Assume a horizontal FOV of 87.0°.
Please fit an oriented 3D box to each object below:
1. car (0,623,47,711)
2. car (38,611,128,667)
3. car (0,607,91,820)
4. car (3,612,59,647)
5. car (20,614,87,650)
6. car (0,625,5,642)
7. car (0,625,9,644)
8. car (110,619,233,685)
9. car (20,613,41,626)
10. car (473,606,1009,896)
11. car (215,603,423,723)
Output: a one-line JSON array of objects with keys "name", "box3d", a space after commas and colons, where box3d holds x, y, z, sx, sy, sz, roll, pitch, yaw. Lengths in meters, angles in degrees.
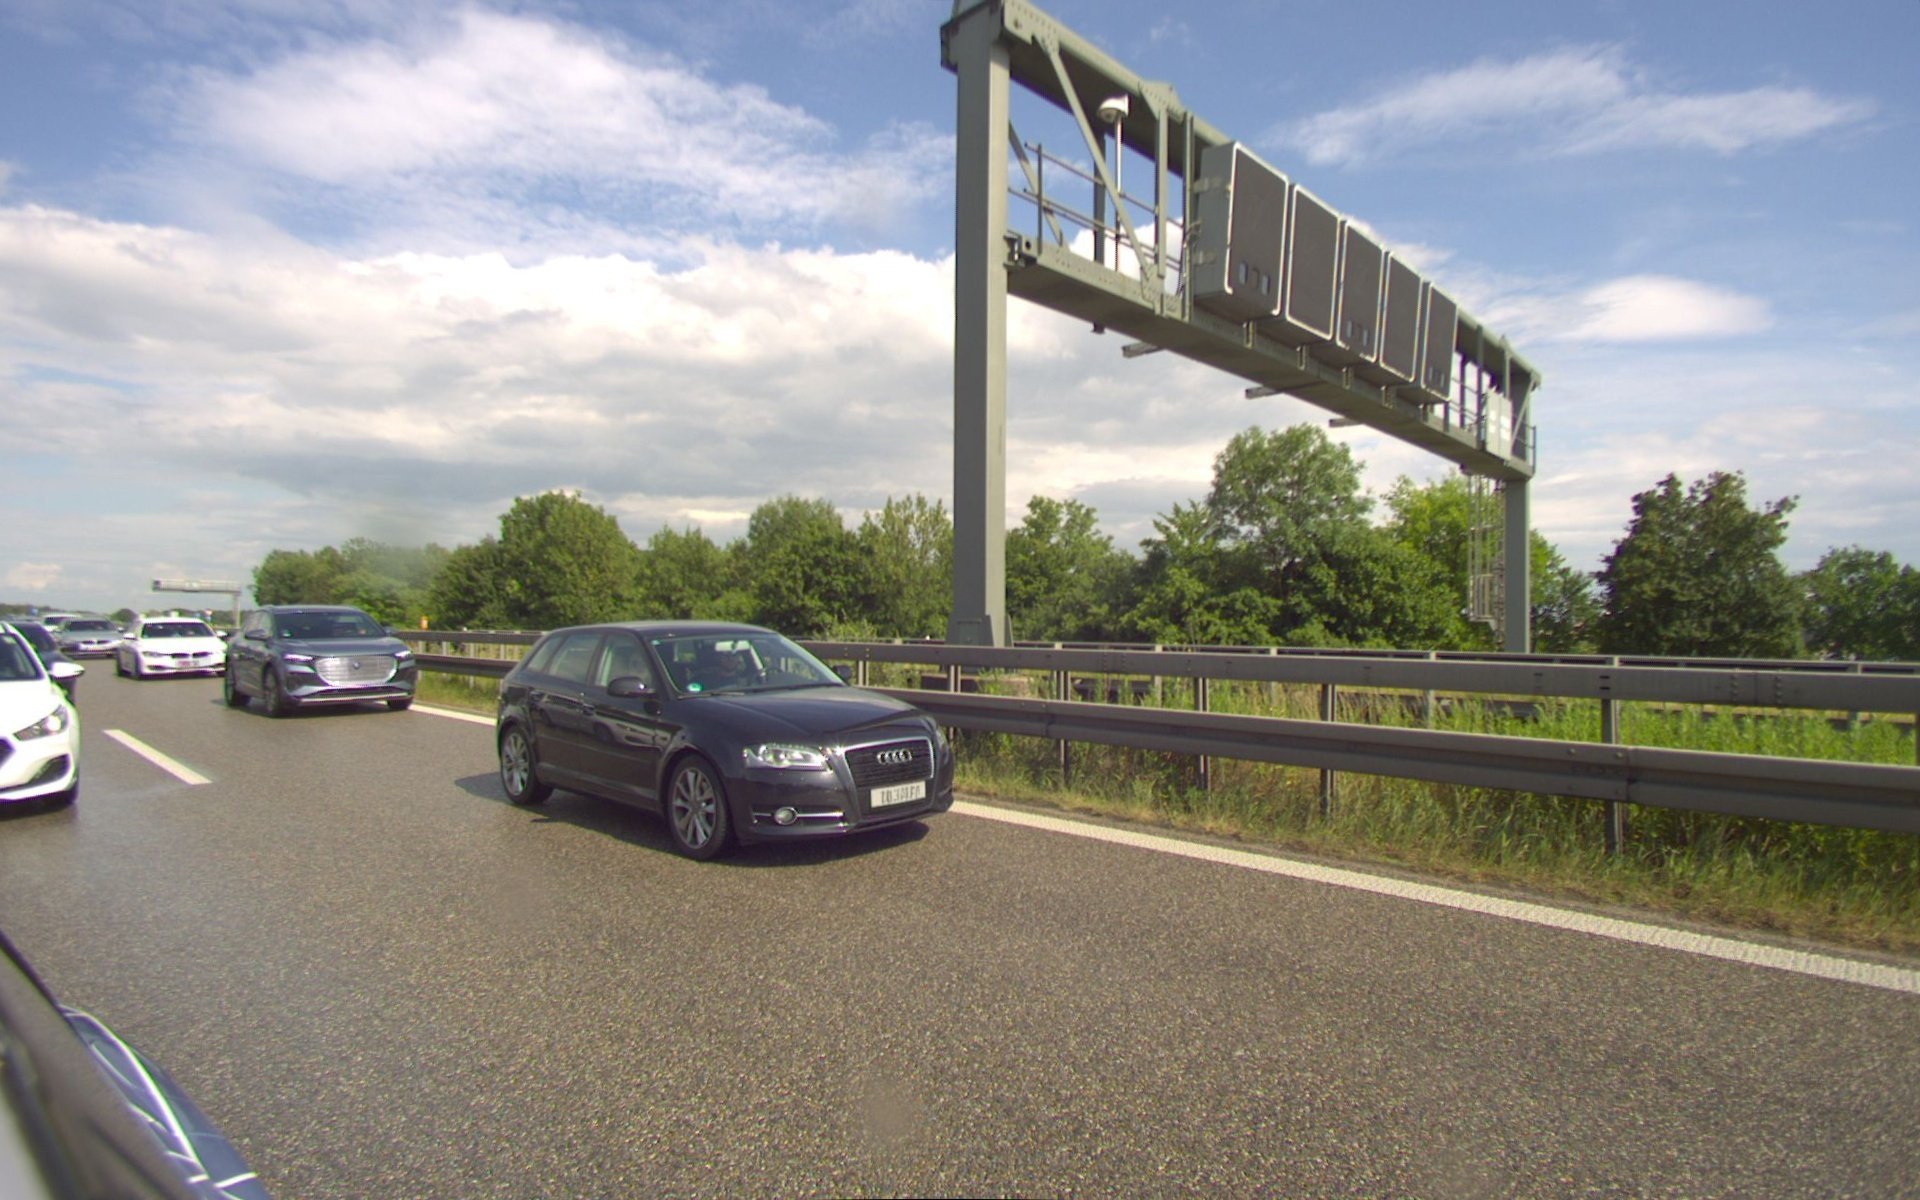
[{"name": "car", "box3d": [-16.479, 1.057, 16.751, 4.288, 1.348, 1.705, -1, -1, 44]}, {"name": "car", "box3d": [-30.865, 1.299, 35.582, 4.000, 1.761, 1.972, 0, 1, 43]}, {"name": "car", "box3d": [-8.563, 0.817, 8.207, 4.549, 1.466, 1.860, -1, -1, 44]}, {"name": "car", "box3d": [-50.898, 1.581, 55.417, 4.000, 1.710, 1.972, 0, 1, 43]}, {"name": "car", "box3d": [-42.405, 1.465, 47.321, 4.000, 1.490, 1.972, 0, 1, 43]}, {"name": "car", "box3d": [-103.376, 3.547, 107.891, 4.000, 1.710, 1.972, 0, 1, 43]}, {"name": "car", "box3d": [-94.361, 3.414, 98.813, 4.000, 1.710, 1.972, 0, 1, 43]}, {"name": "car", "box3d": [-19.019, 1.186, 24.362, 4.000, 1.389, 1.747, 0, -1, 43]}, {"name": "car", "box3d": [-132.834, 2.729, 144.563, 4.462, 1.792, 1.971, -1, -1, 44]}, {"name": "car", "box3d": [-1.776, 0.787, 7.189, 4.140, 1.436, 1.746, -1, 0, 45]}, {"name": "car", "box3d": [-10.089, 0.879, 15.790, 4.230, 1.618, 1.849, -1, -1, 45]}]
